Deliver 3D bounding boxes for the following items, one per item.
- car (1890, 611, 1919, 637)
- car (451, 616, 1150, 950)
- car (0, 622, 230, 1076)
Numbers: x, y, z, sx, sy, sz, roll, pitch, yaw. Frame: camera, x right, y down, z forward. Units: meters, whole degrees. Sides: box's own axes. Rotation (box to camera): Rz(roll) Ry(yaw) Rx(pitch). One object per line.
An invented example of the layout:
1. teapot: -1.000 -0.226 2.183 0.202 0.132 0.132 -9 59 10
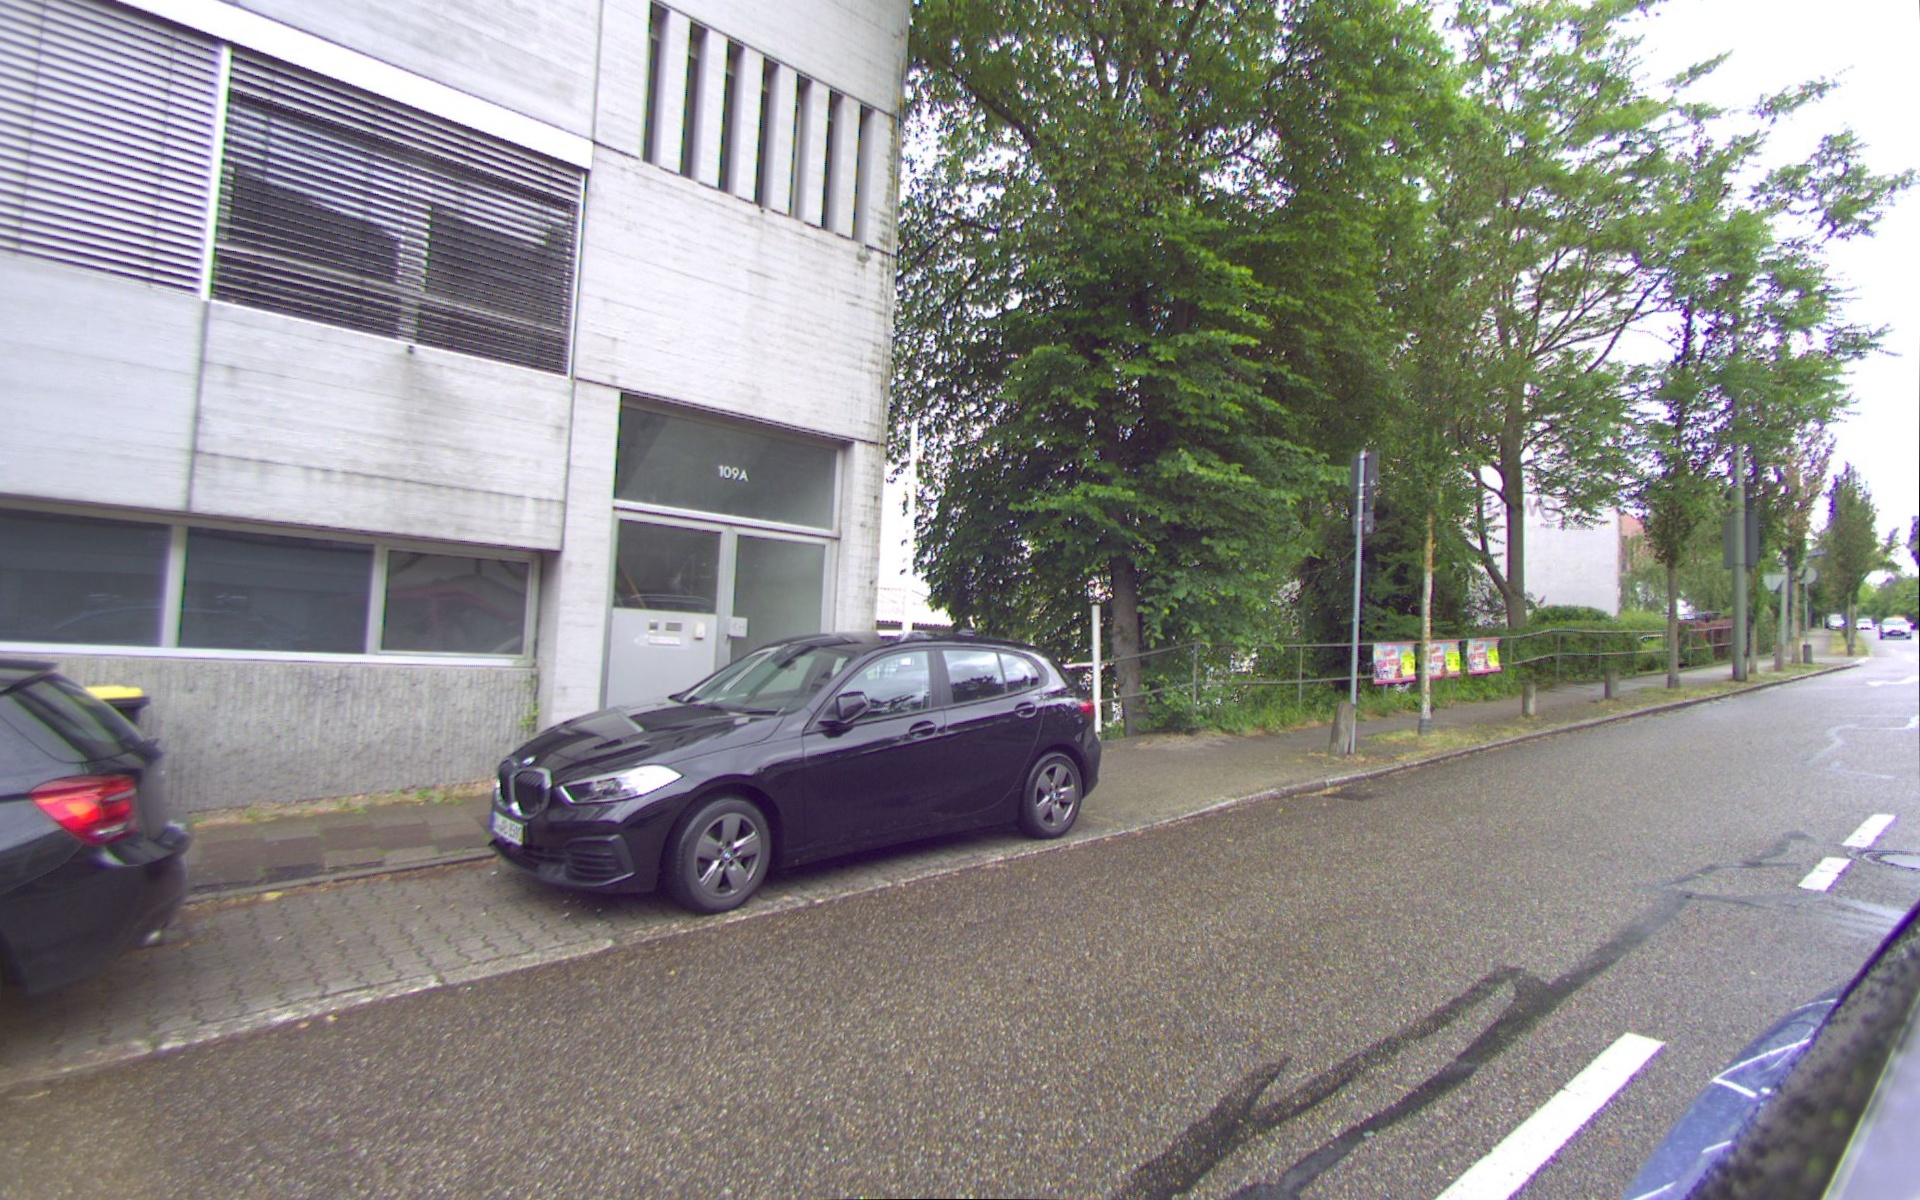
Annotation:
1. car: 68.314 1.721 72.848 1.885 1.741 4.174 2 2 41
2. car: -0.836 0.885 6.937 4.367 1.453 1.996 0 1 -43
3. car: -4.900 0.849 3.177 4.173 1.466 1.753 0 0 -38
